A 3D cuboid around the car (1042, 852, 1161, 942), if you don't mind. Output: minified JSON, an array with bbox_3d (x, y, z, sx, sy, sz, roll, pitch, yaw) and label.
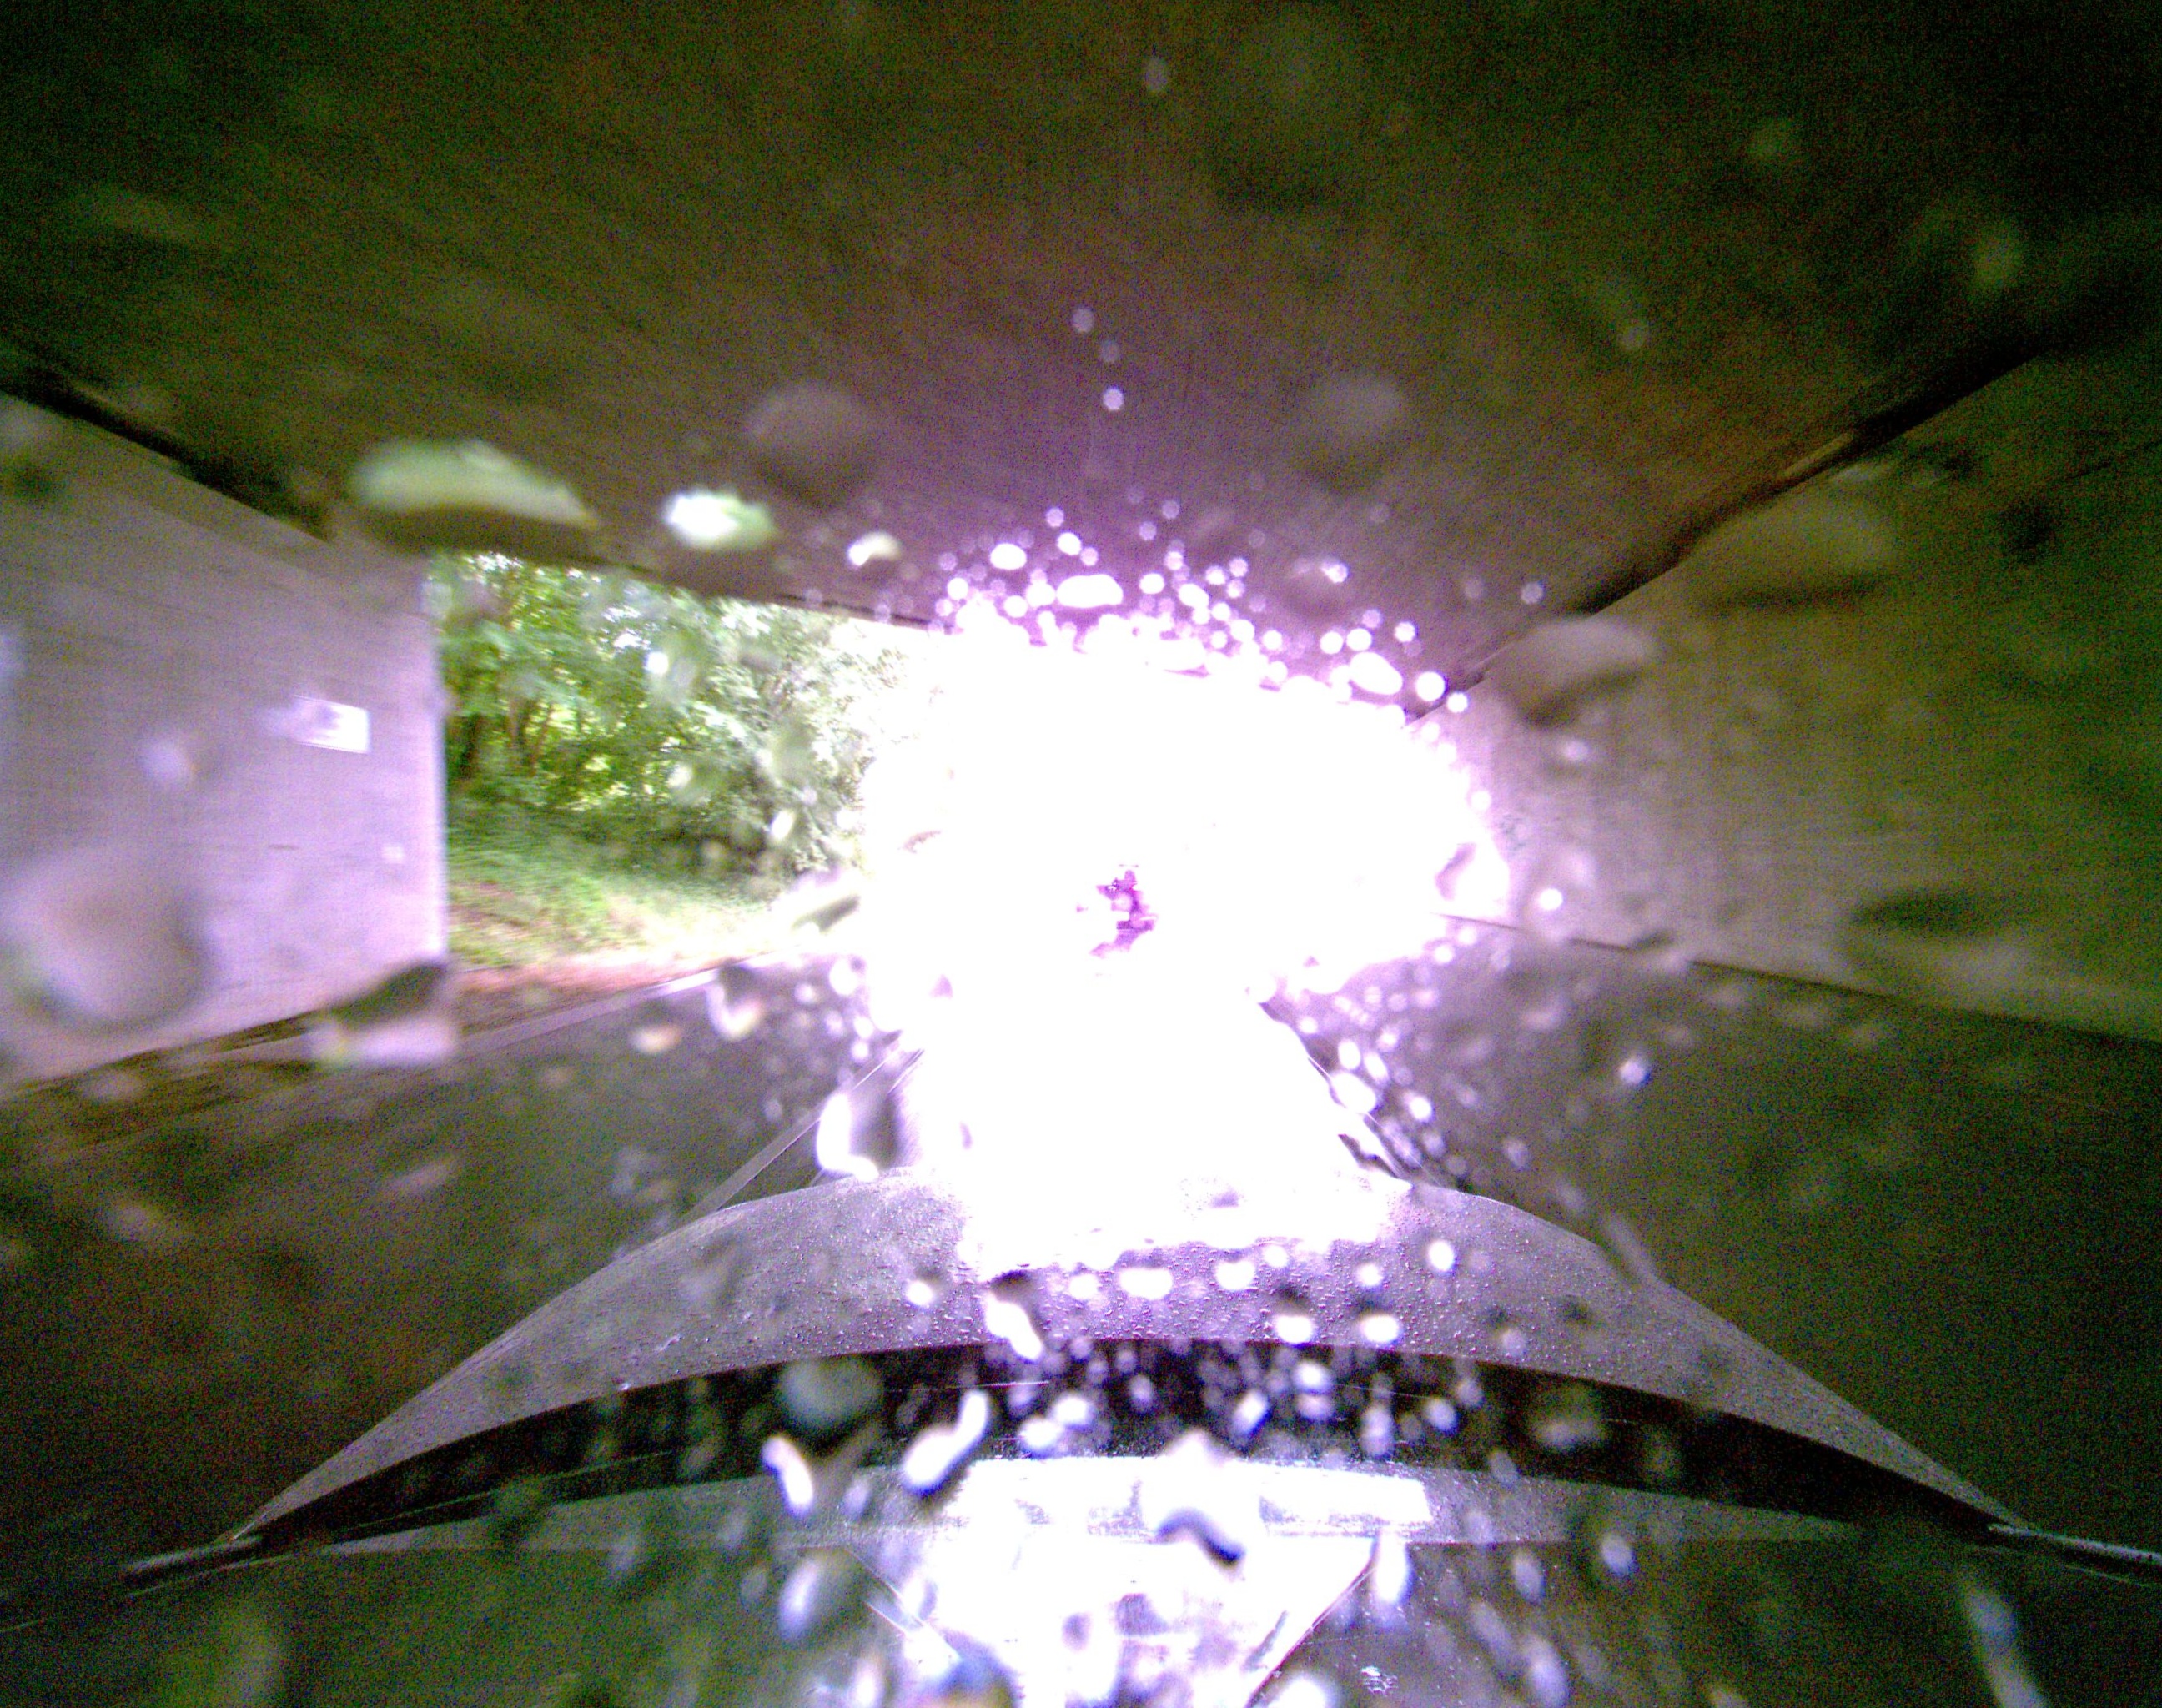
[{"bbox_3d":[0.282,0.720,15.568,1.988,1.487,3.997,0,0,-2],"label":"car"}]

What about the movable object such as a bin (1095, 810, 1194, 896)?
[{"bbox_3d":[2.435,-0.016,28.805,2.229,2.669,6.654,0,0,16],"label":"movable object such as a bin"}]
